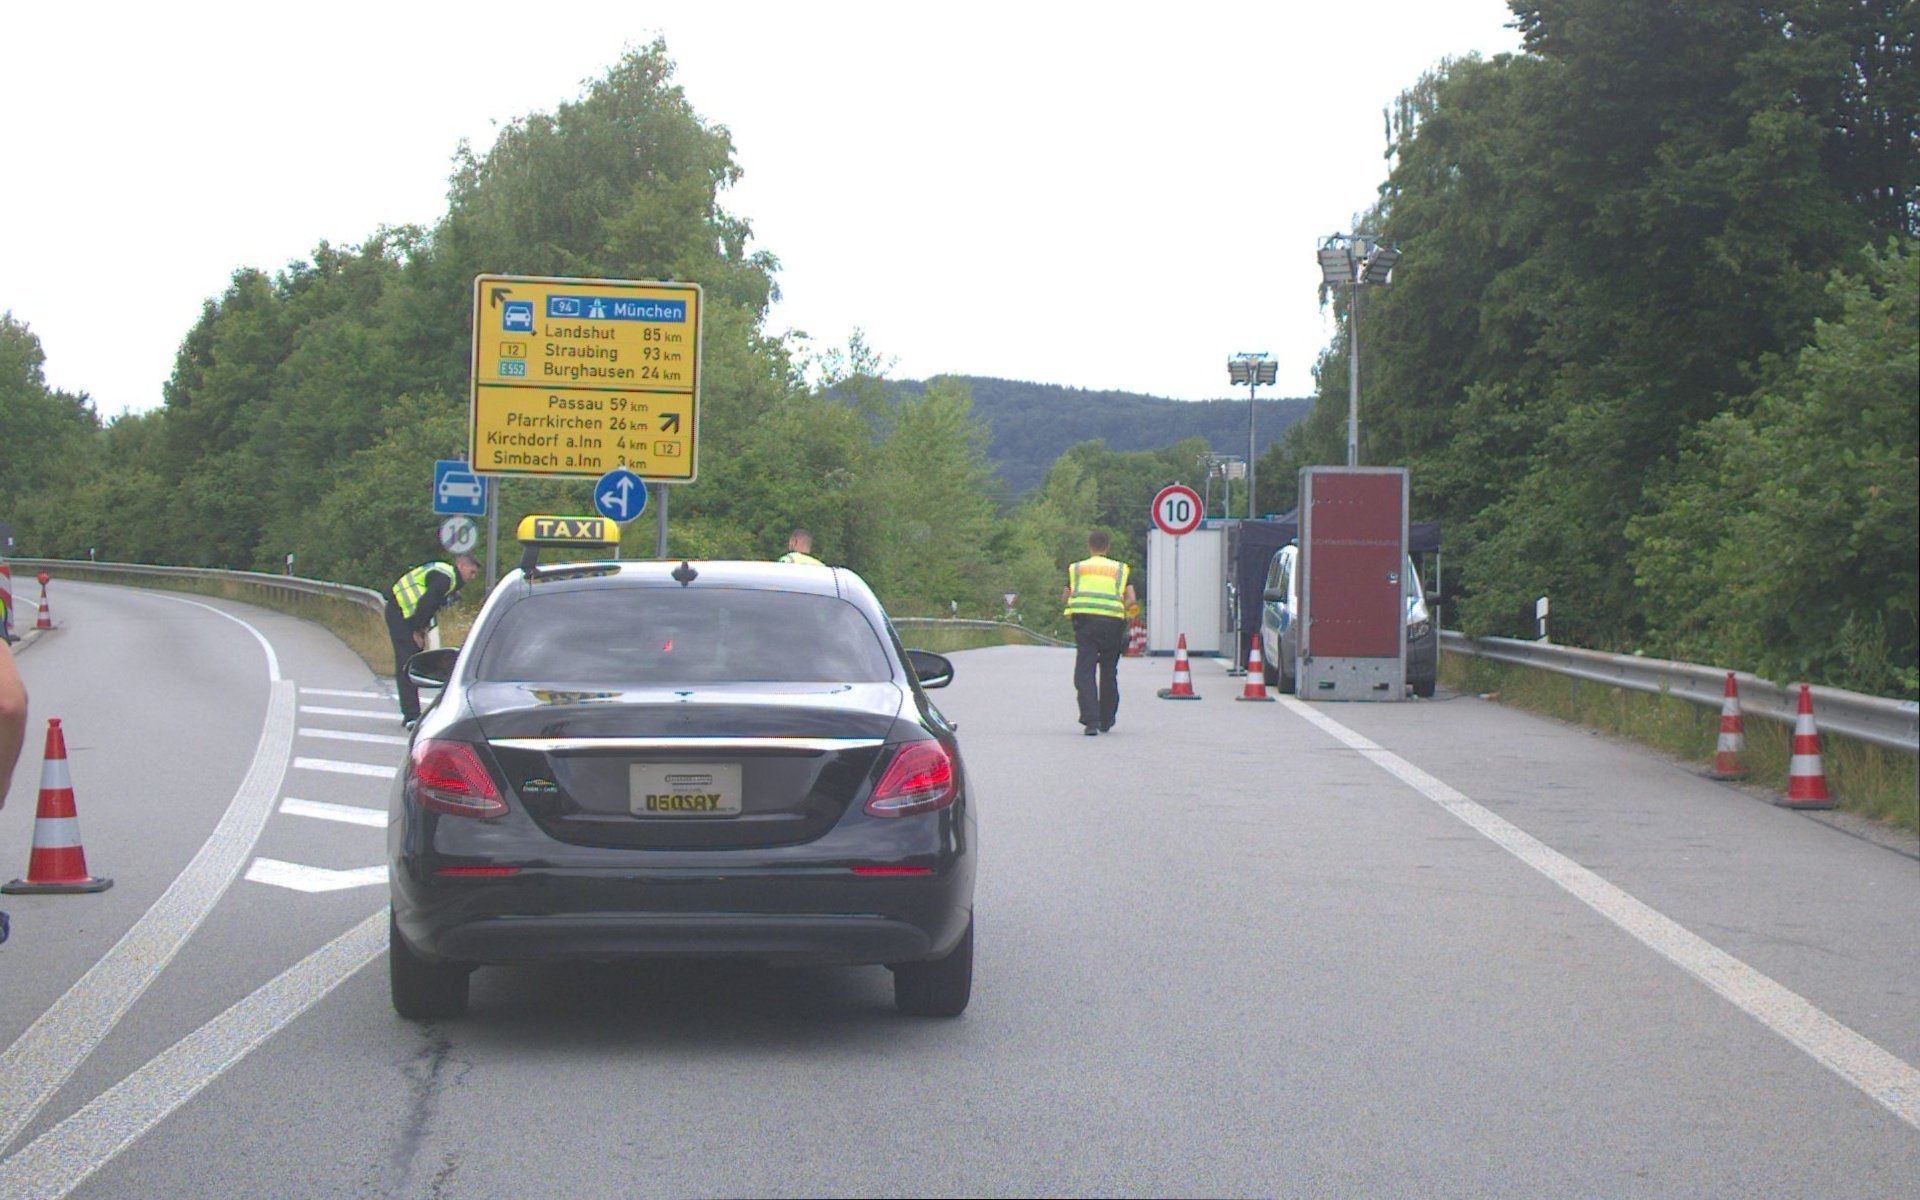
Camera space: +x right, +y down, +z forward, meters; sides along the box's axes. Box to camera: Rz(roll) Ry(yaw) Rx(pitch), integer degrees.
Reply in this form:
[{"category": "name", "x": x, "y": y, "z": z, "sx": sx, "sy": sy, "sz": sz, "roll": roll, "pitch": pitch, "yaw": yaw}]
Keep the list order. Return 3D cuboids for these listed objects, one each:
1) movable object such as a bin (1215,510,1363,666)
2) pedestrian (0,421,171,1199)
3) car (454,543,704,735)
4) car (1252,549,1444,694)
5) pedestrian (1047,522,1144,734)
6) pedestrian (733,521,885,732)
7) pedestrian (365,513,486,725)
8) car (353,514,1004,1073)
[{"category": "movable object such as a bin", "x": 5.006, "y": -0.207, "z": 52.801, "sx": 1.993, "sy": 2.272, "sz": 4.168, "roll": 1, "pitch": 1, "yaw": 2}, {"category": "pedestrian", "x": -2.016, "y": 0.536, "z": 6.288, "sx": 0.761, "sy": 1.712, "sz": 0.816, "roll": 0, "pitch": 1, "yaw": 37}, {"category": "car", "x": -3.135, "y": 0.274, "z": 28.998, "sx": 1.855, "sy": 1.493, "sz": 4.257, "roll": 0, "pitch": 1, "yaw": -3}, {"category": "car", "x": 4.893, "y": 0.222, "z": 43.962, "sx": 1.916, "sy": 1.672, "sz": 5.083, "roll": 2, "pitch": 1, "yaw": 1}, {"category": "pedestrian", "x": 1.178, "y": 0.235, "z": 30.007, "sx": 0.812, "sy": 1.824, "sz": 0.809, "roll": 0, "pitch": 1, "yaw": 0}, {"category": "pedestrian", "x": -1.240, "y": 0.204, "z": 28.173, "sx": 0.908, "sy": 1.692, "sz": 0.914, "roll": 0, "pitch": 1, "yaw": -32}, {"category": "pedestrian", "x": -4.520, "y": 0.152, "z": 29.125, "sx": 0.910, "sy": 1.763, "sz": 0.912, "roll": 0, "pitch": 1, "yaw": -3}, {"category": "car", "x": -1.028, "y": 0.518, "z": 12.045, "sx": 1.855, "sy": 1.589, "sz": 4.376, "roll": 0, "pitch": 1, "yaw": -6}]
